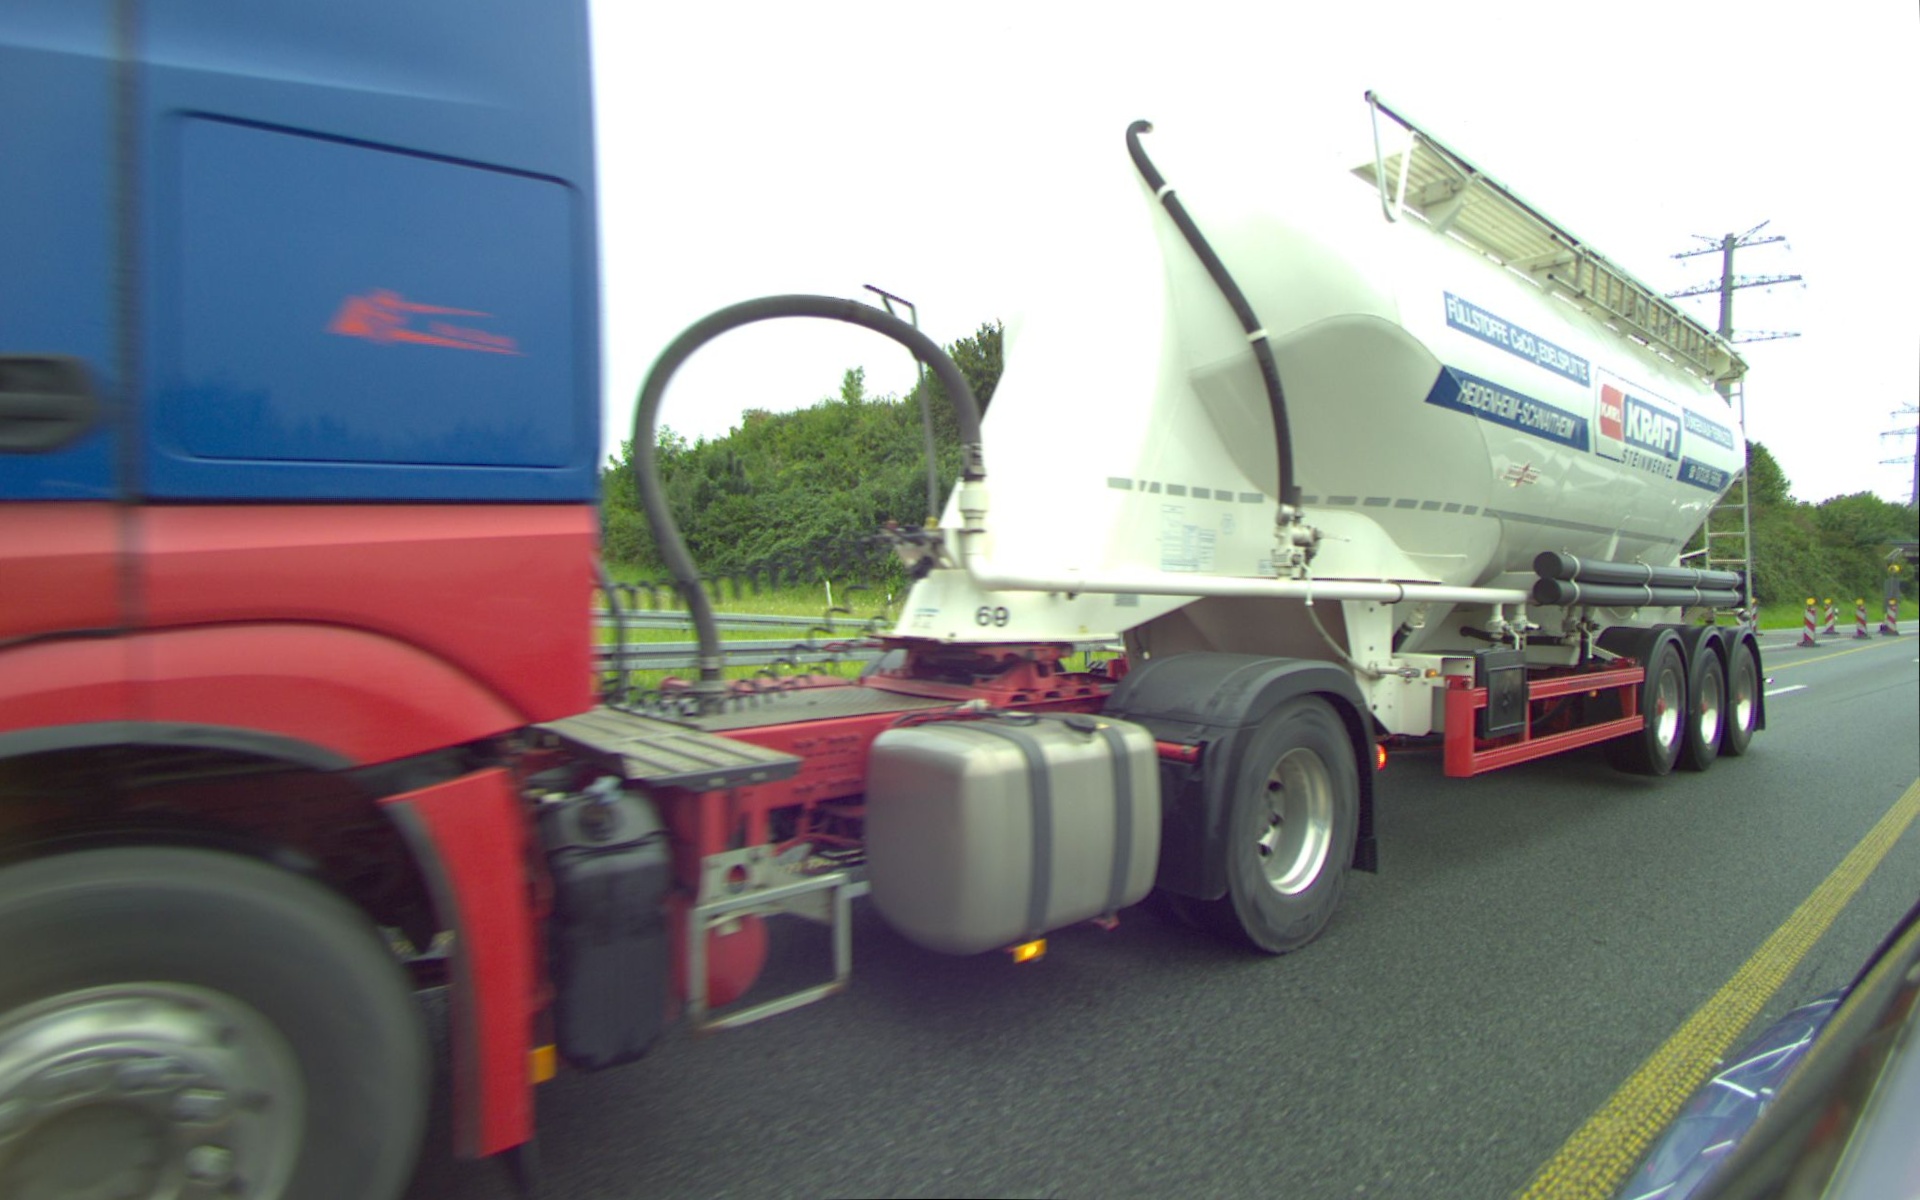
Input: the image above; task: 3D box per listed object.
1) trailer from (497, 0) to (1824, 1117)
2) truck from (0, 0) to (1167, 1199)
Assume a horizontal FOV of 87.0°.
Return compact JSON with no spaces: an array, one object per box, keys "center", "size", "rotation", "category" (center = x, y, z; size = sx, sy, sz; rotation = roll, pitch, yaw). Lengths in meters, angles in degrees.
[{"center":[3.415,-0.784,7.379],"size":[12.134,3.882,2.524],"rotation":[-1,1,-41],"category":"trailer"},{"center":[-1.660,-0.660,2.952],"size":[3.929,3.996,2.552],"rotation":[-1,1,-40],"category":"truck"}]
